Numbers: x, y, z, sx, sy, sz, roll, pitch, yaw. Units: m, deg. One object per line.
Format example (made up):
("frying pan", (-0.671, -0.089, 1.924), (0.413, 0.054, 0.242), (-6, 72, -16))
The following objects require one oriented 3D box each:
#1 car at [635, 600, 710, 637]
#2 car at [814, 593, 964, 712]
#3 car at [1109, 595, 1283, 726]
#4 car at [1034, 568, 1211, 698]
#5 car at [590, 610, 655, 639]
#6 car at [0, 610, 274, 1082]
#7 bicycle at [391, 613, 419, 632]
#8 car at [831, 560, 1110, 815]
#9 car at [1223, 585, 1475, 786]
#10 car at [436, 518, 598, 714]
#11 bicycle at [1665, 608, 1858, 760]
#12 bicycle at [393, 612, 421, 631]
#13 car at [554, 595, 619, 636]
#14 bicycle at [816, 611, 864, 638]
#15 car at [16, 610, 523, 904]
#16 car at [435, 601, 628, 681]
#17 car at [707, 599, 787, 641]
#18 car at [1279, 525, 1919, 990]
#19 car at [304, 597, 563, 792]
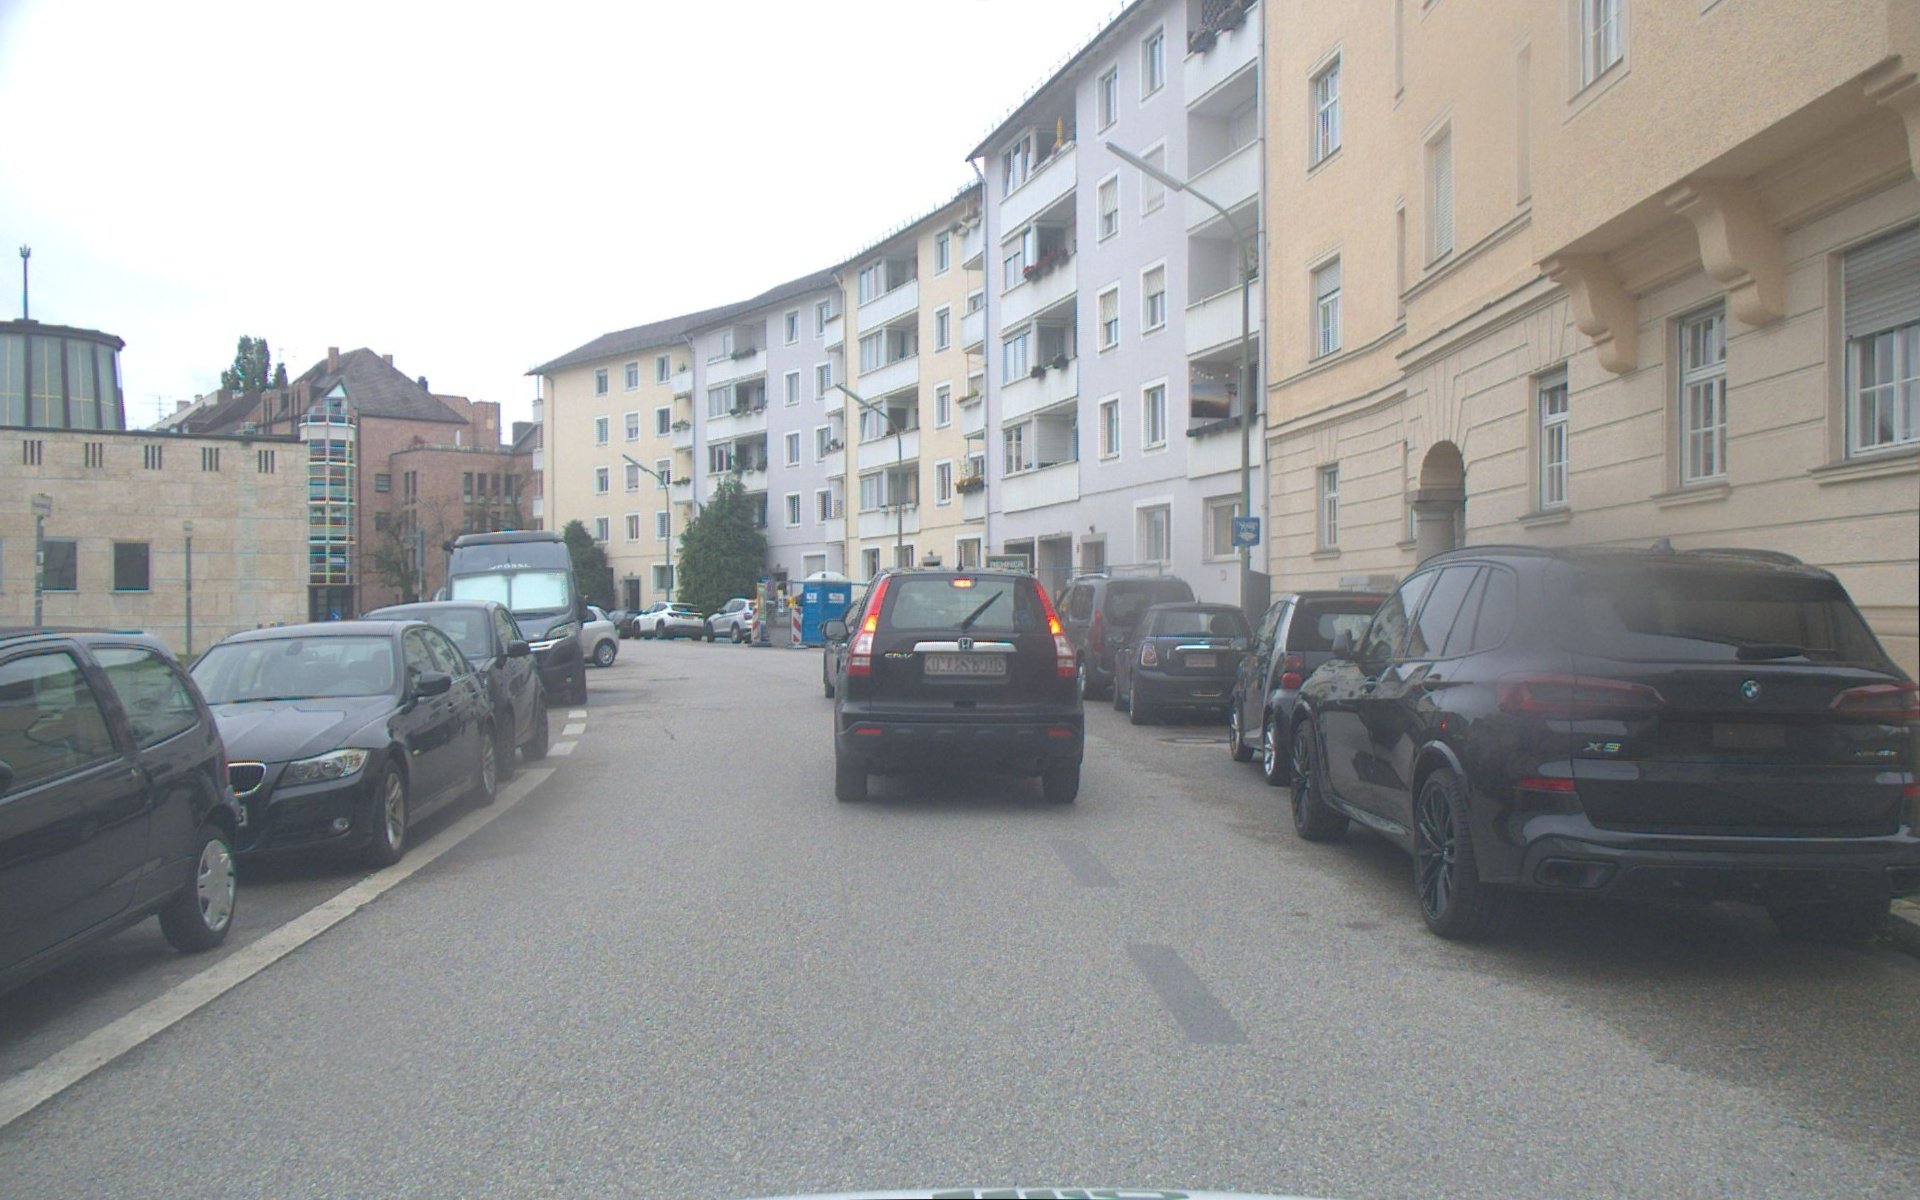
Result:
("car", (-12.364, 0.765, 70.982), (1.709, 1.509, 3.952), (0, 0, -34))
("car", (-1.075, 0.668, 23.125), (1.648, 1.507, 4.078), (0, 0, -9))
("car", (2.888, 0.704, 20.969), (1.673, 1.472, 3.830), (1, 0, 1))
("car", (2.433, 0.481, 25.822), (1.745, 1.838, 4.267), (1, 0, -9))
("car", (-15.327, 1.090, 75.095), (1.683, 1.258, 3.559), (0, 0, -34))
("car", (-3.926, 0.820, 5.980), (1.624, 1.479, 3.310), (-2, 0, -4))
("bicycle", (-38.771, 1.534, 115.531), (1.736, 1.311, 0.547), (0, 0, -32))
("car", (-0.053, 0.583, 12.976), (1.853, 1.676, 3.988), (0, 0, -4))
("car", (3.296, 0.675, 14.507), (1.503, 1.550, 3.111), (1, 0, 1))
("car", (-6.954, 0.204, 26.169), (2.128, 2.688, 5.994), (-2, 0, -14))
("bicycle", (6.514, 0.645, 13.560), (0.567, 1.102, 1.953), (-3, 0, -1))
("bicycle", (-38.439, 1.505, 114.959), (1.736, 1.311, 0.547), (0, 0, -32))
("car", (-17.820, 0.714, 78.865), (1.709, 1.911, 3.952), (1, 0, -34))
("bicycle", (-4.841, 0.986, 66.927), (1.840, 1.110, 0.641), (0, 0, -23))
("car", (-4.192, 0.827, 10.891), (1.764, 1.430, 4.450), (-2, 0, -5))
("car", (-9.838, 0.923, 38.197), (1.652, 1.507, 4.068), (-5, -1, 38))
("car", (-8.041, 0.735, 62.251), (1.705, 1.509, 3.963), (0, 0, -28))
("car", (3.091, 0.612, 8.742), (1.831, 1.747, 4.865), (1, 0, 0))
("car", (-4.678, 0.775, 15.090), (1.638, 1.528, 2.973), (-2, 0, -6))
